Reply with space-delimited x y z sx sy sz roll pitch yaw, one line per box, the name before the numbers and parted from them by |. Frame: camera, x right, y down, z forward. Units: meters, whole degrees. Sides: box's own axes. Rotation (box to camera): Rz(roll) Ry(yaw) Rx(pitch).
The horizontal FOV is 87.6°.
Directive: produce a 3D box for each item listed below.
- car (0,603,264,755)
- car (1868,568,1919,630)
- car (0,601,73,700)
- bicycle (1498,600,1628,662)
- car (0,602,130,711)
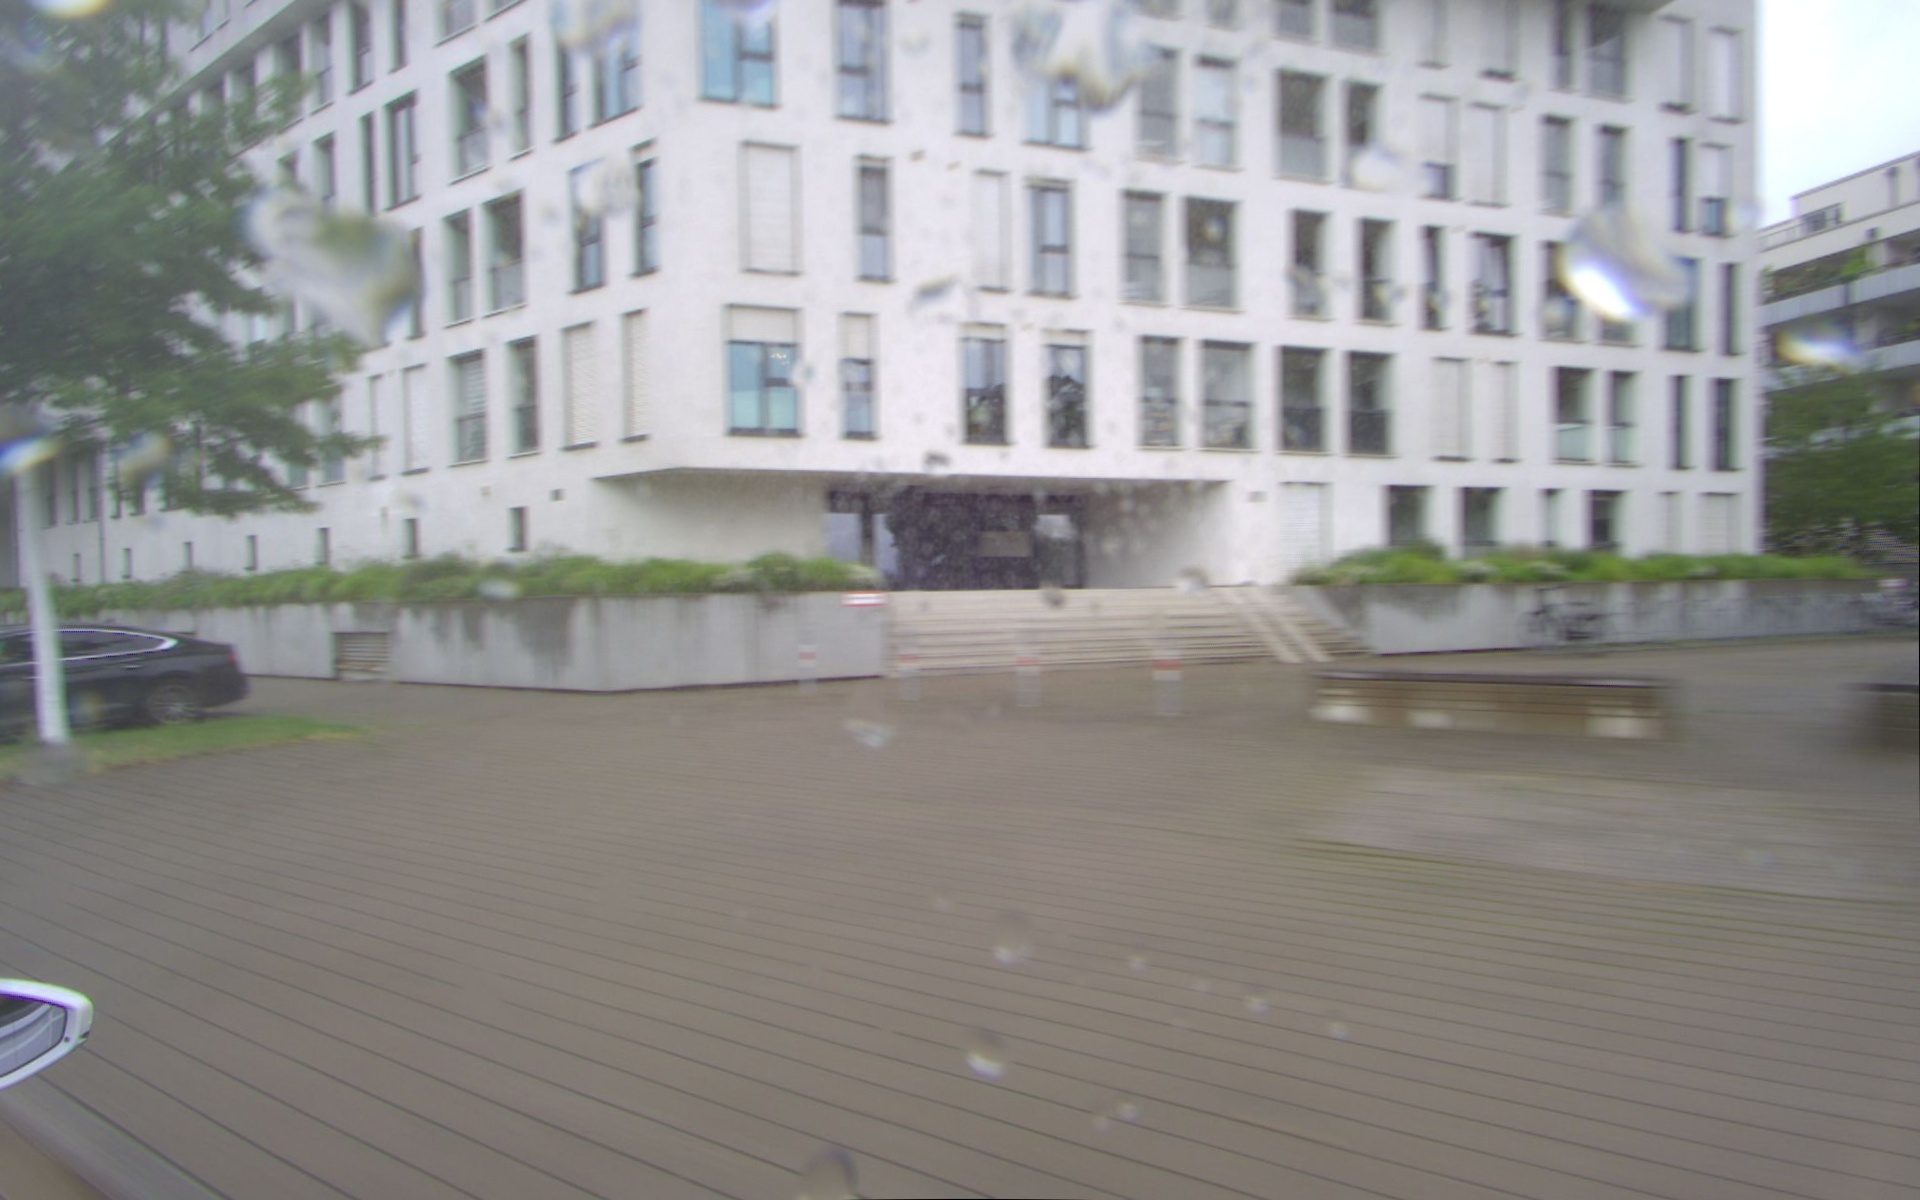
car | -11.082 0.924 11.602 1.799 1.517 4.560 -1 2 31
car | 26.085 0.029 25.918 4.752 1.527 1.621 1 0 -17
car | -16.981 0.913 15.898 1.611 1.577 3.976 -1 3 32
bicycle | 10.934 0.535 18.241 0.712 1.047 2.069 -1 0 -18
car | -14.935 0.892 14.242 1.668 1.502 4.476 -1 2 31
